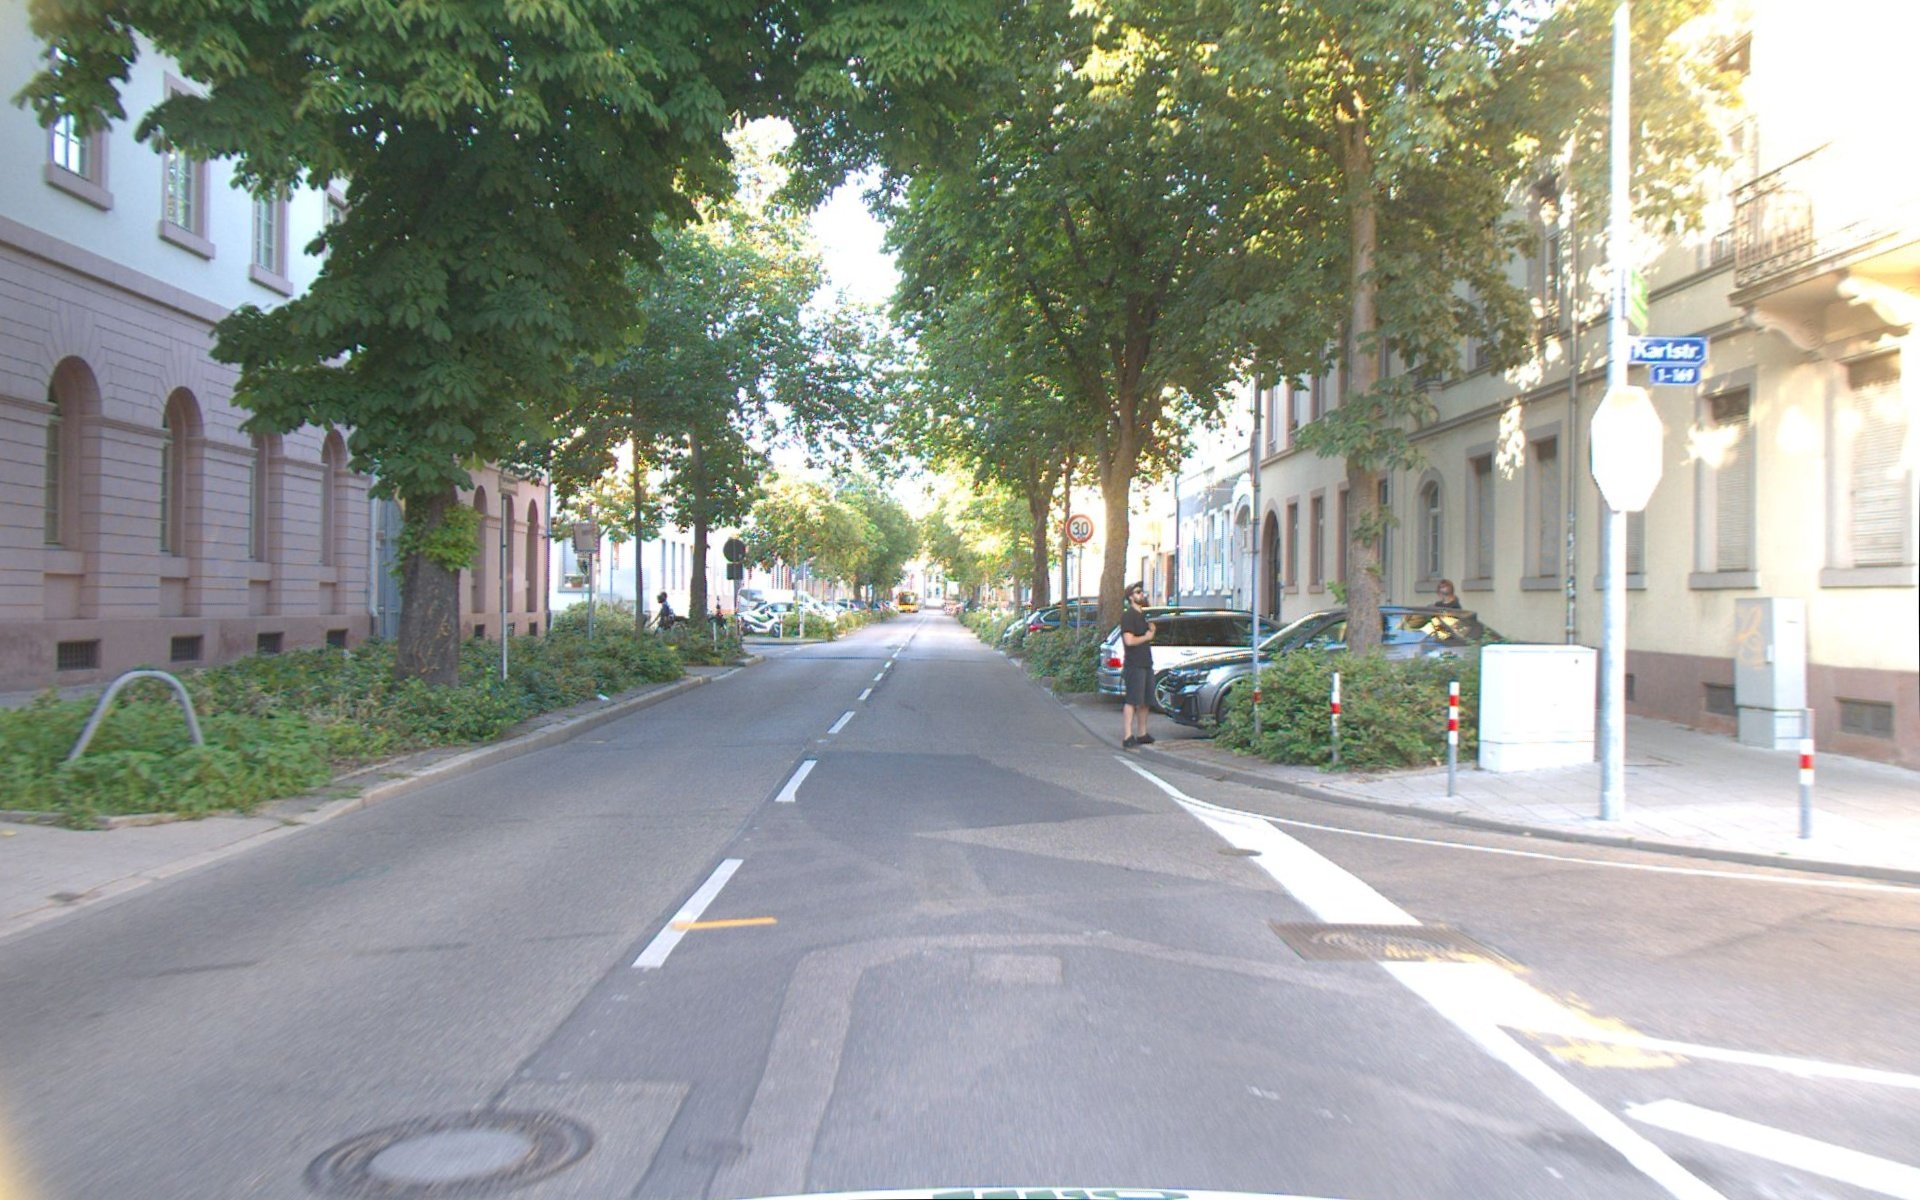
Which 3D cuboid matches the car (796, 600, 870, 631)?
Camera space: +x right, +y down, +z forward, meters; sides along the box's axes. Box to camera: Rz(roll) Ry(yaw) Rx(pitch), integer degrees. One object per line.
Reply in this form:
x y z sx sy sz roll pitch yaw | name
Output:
-8.757 1.034 114.537 4.960 2.119 2.263 0 0 0 | car

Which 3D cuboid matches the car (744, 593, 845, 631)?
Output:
-8.579 0.613 86.019 4.960 1.855 2.264 0 3 1 | car

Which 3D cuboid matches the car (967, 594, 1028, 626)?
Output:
2.472 0.662 108.368 3.904 2.049 2.001 1 0 2 | car

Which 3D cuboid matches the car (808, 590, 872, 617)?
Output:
-9.538 0.261 131.655 4.960 2.119 2.263 0 0 0 | car

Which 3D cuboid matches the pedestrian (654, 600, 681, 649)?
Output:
-8.624 0.726 48.760 0.641 1.419 0.607 2 -1 -1 | pedestrian

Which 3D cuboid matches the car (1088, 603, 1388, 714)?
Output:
4.044 0.830 24.528 4.107 1.506 1.852 -1 0 -1 | car

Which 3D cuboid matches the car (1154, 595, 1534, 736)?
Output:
4.447 0.736 19.569 4.025 1.516 1.849 1 1 -2 | car

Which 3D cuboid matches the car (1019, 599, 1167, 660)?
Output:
3.643 0.800 45.726 3.933 1.651 1.780 0 0 -2 | car

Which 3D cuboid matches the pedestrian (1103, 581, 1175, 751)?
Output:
2.048 0.739 18.994 0.777 1.901 0.752 1 0 4 | pedestrian

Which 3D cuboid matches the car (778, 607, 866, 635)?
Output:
-8.186 1.231 98.290 4.958 1.645 2.264 0 0 2 | car

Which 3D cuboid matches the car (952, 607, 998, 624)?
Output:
1.324 1.307 143.560 3.907 1.467 1.696 0 0 -3 | car

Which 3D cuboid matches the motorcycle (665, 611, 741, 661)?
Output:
-6.686 0.932 43.061 1.880 1.281 0.590 0 0 -1 | motorcycle

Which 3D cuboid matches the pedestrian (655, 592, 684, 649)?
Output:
-8.729 0.616 49.678 0.703 1.693 0.838 0 0 1 | pedestrian

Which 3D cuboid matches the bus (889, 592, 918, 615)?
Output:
-8.152 0.495 239.184 2.973 3.246 9.381 1 0 -10 | bus

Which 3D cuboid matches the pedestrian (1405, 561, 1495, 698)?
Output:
6.346 0.366 21.468 0.923 1.736 0.782 0 1 1 | pedestrian

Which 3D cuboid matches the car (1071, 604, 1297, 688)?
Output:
4.123 0.831 30.836 3.933 1.506 1.780 0 0 -2 | car

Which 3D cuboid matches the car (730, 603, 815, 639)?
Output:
-8.227 0.923 72.831 3.652 1.534 1.871 0 0 -5 | car

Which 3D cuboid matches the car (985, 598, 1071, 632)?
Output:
3.604 0.776 88.606 4.499 1.792 2.222 0 0 0 | car

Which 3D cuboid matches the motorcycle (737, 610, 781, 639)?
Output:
-7.719 0.937 63.646 1.603 1.087 0.656 1 0 -1 | motorcycle

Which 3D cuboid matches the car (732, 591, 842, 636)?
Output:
-8.137 0.639 78.228 4.961 2.119 2.262 0 0 -1 | car

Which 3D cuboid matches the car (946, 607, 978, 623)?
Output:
0.266 1.902 211.008 3.902 1.870 2.001 1 0 6 | car
